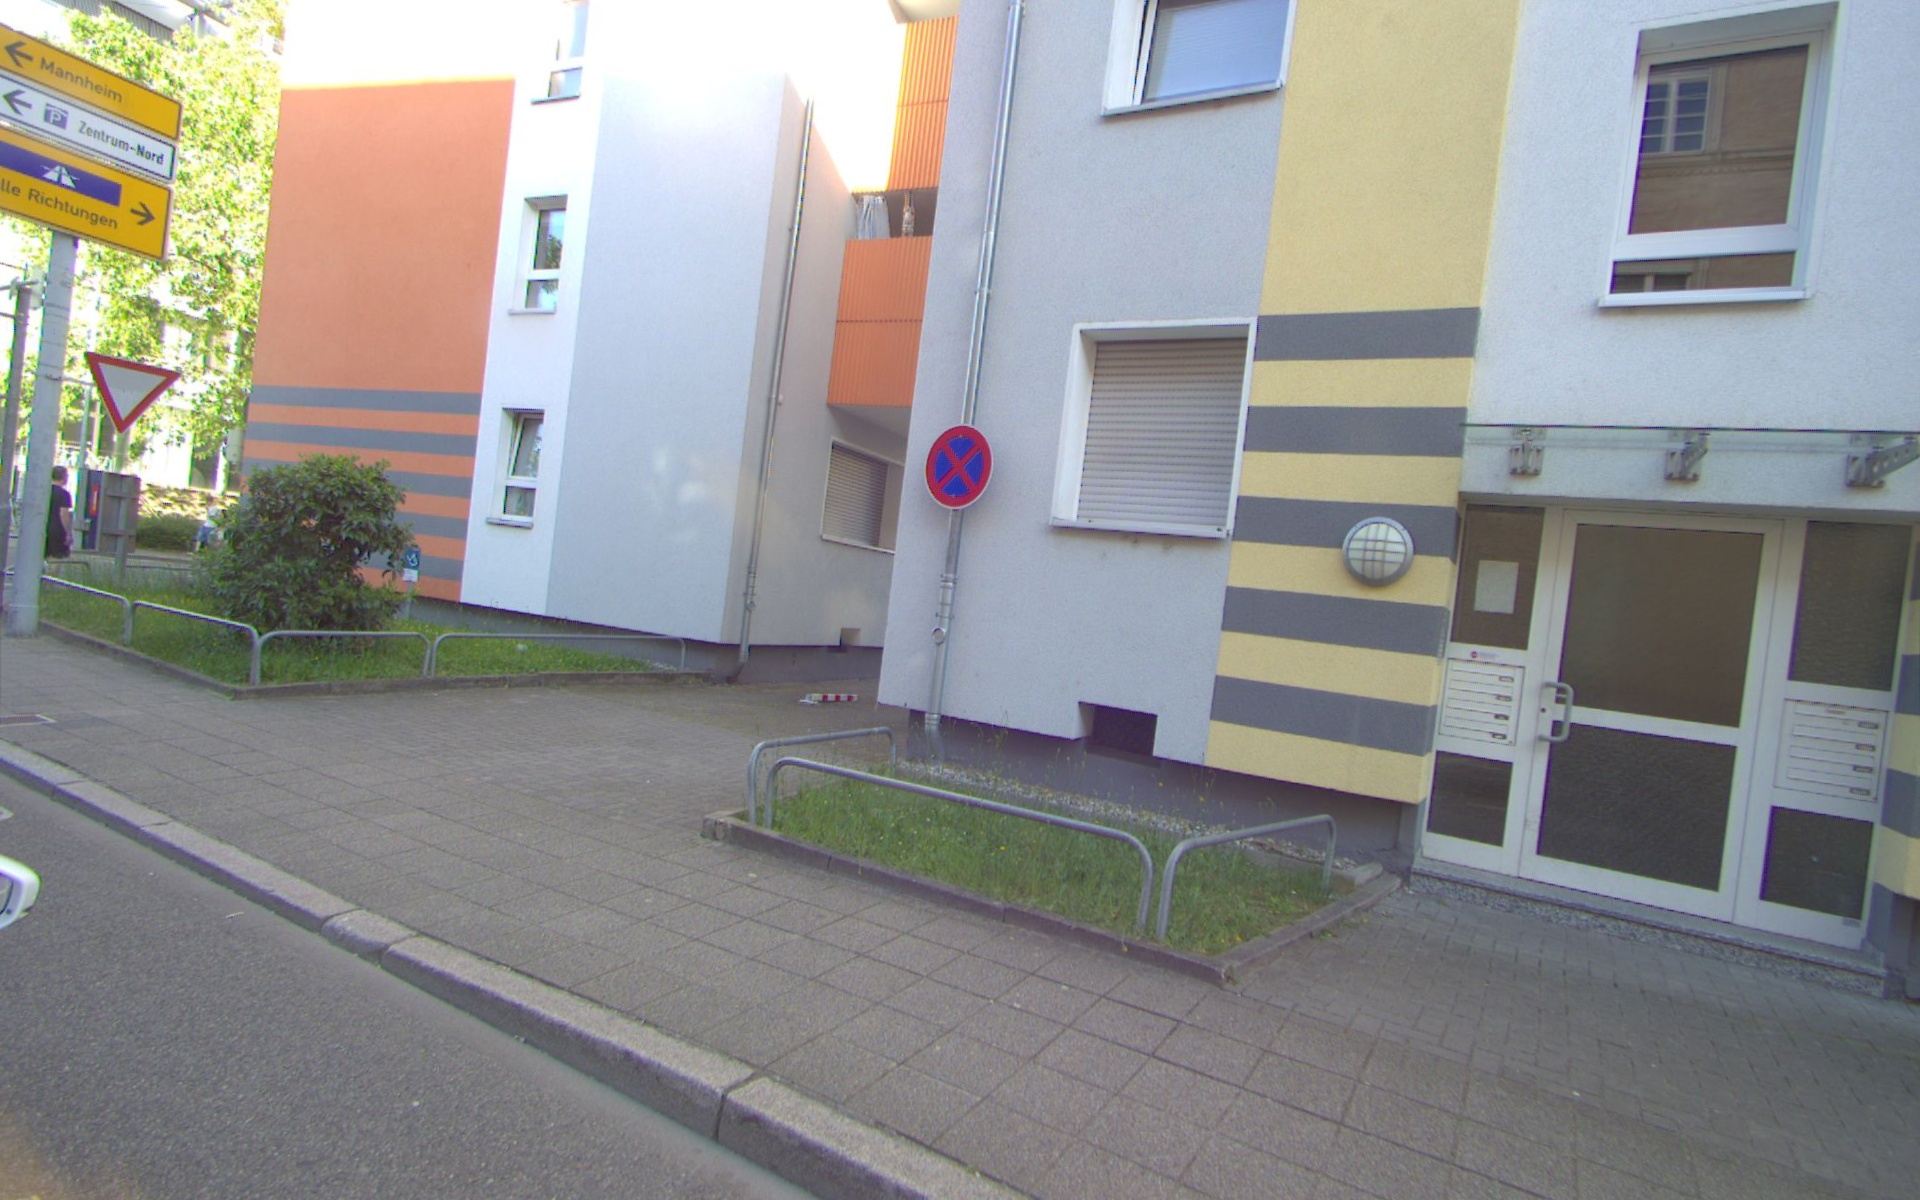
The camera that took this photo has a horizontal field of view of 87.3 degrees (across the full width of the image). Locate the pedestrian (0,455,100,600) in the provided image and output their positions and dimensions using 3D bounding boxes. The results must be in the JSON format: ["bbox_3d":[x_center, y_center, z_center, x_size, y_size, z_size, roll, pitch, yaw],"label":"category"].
[{"bbox_3d":[-12.487,-0.966,13.779,0.692,1.831,0.716,7,-1,-23],"label":"pedestrian"}]

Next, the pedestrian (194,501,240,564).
[{"bbox_3d":[-22.218,-2.008,30.083,0.637,1.739,0.766,6,-1,34],"label":"pedestrian"}]

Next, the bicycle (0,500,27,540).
[{"bbox_3d":[-26.397,-2.246,27.391,1.409,1.021,0.379,7,1,-11],"label":"bicycle"}]

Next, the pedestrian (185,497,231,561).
[{"bbox_3d":[-22.821,-2.151,30.525,0.637,1.816,0.766,6,-1,34],"label":"pedestrian"}]

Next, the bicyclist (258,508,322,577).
[{"bbox_3d":[-16.609,-1.418,24.955,0.583,1.546,1.075,8,1,37],"label":"bicyclist"}]

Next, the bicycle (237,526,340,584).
[{"bbox_3d":[-16.636,-1.099,24.963,0.583,1.166,1.963,7,0,37],"label":"bicycle"}]
